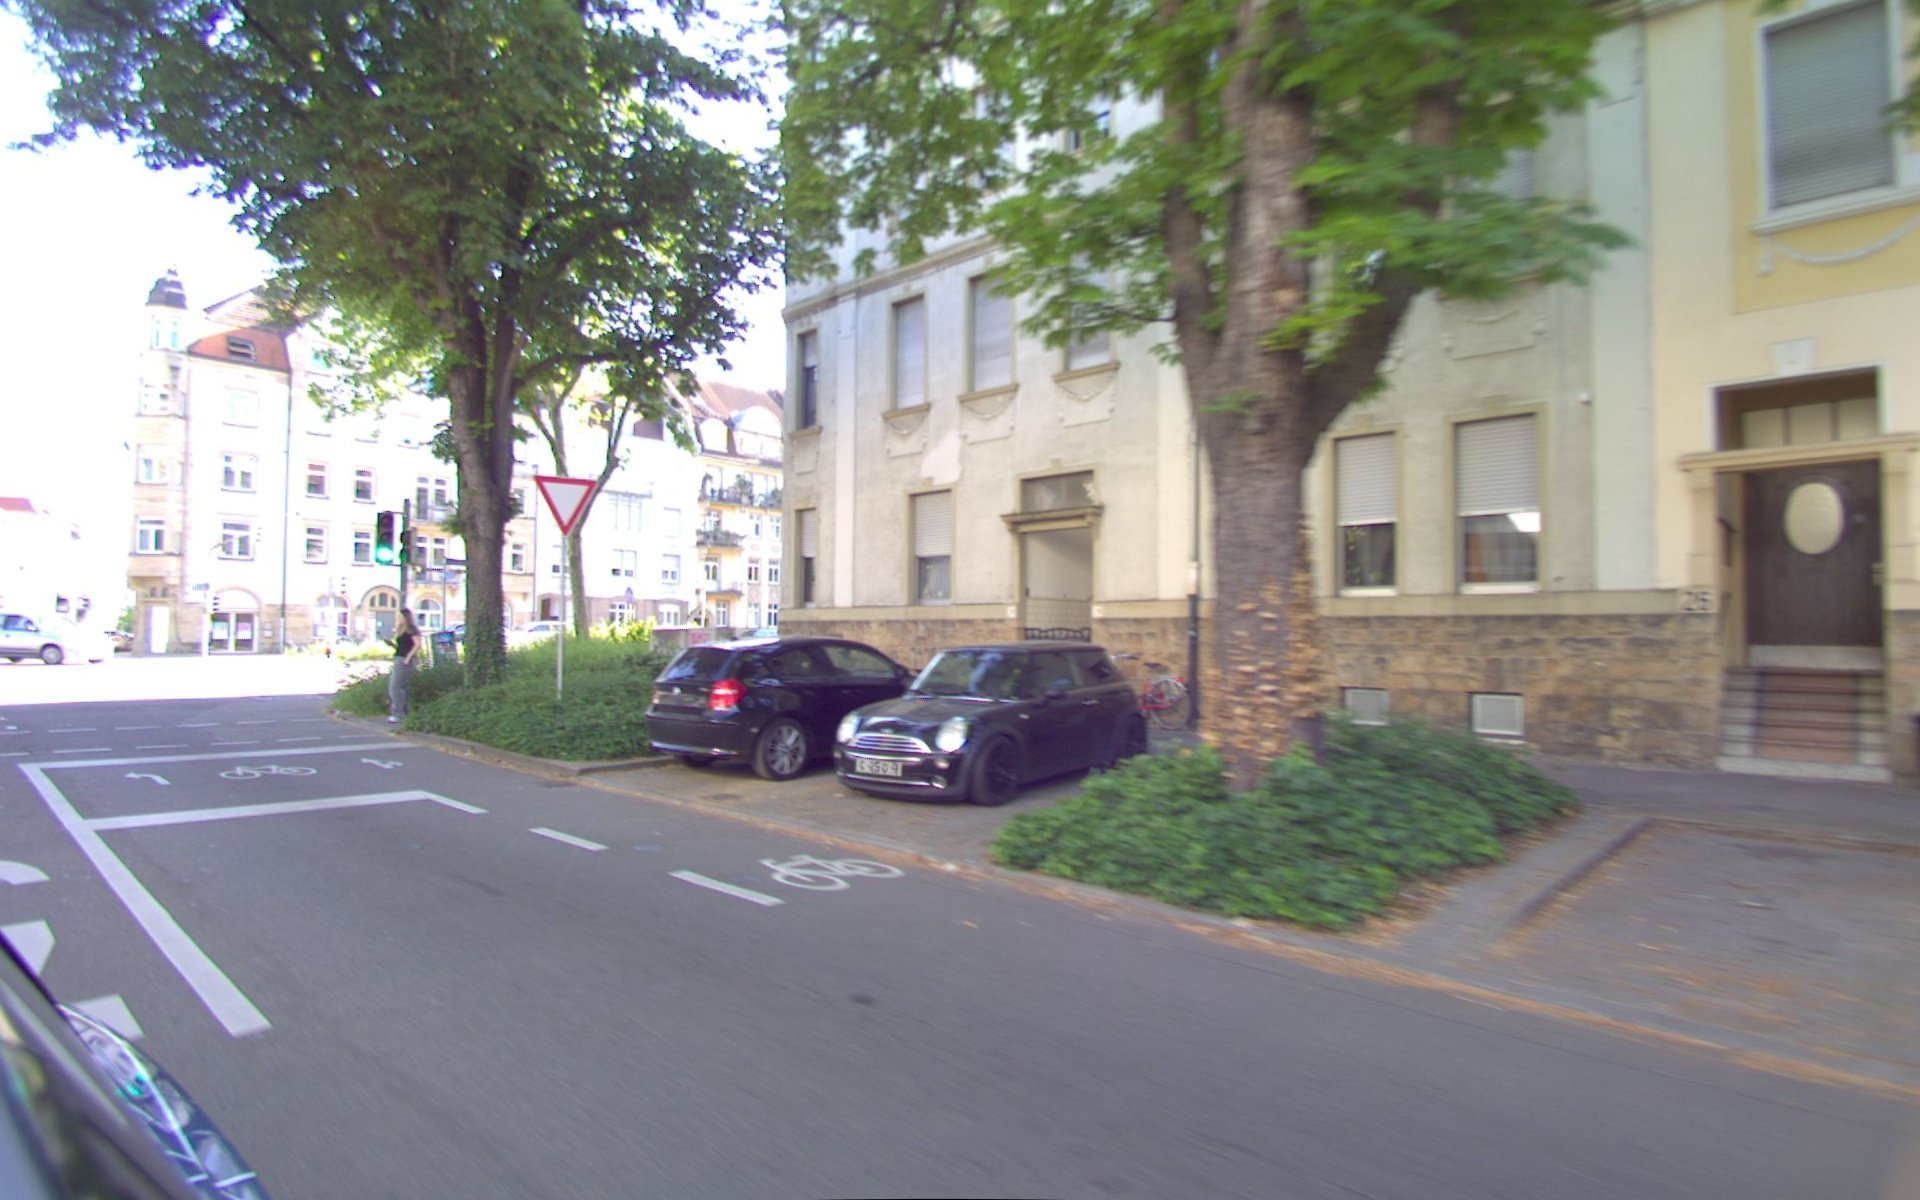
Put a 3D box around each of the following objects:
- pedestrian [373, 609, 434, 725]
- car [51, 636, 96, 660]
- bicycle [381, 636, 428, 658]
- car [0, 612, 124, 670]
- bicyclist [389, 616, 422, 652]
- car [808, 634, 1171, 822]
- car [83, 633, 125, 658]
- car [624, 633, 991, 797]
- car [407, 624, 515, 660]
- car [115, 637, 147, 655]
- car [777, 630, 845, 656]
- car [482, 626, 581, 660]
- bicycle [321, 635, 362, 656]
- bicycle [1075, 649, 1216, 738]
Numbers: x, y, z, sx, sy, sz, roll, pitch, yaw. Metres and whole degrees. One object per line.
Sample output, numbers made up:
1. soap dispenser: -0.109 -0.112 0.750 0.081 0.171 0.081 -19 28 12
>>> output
1. pedestrian: -8.439 1.003 15.337 0.684 1.695 0.681 2 -3 -36
2. car: -54.898 2.970 62.709 1.531 1.422 3.580 4 -5 -33
3. bicycle: -24.120 2.034 43.941 0.794 0.932 1.614 -3 -4 42
4. car: -26.498 1.176 29.057 3.565 1.580 1.653 0 -3 0
5. bicyclist: -24.114 1.478 43.980 0.687 1.554 1.059 -2 -3 42
6. car: 0.479 1.059 9.793 1.612 1.426 3.846 -1 -3 37
7. car: -62.897 3.327 74.395 1.887 1.671 4.357 -2 0 -34
8. car: -1.529 1.159 11.223 1.615 1.487 3.840 -1 -3 43
9. car: -23.854 2.034 48.451 1.999 1.657 4.181 -4 -5 42
10. car: -78.041 4.328 95.304 1.887 1.529 4.357 -2 0 -34
11. car: -9.541 2.751 65.148 1.818 1.603 4.188 -1 -3 40
12. car: -20.338 2.049 48.172 1.766 1.541 3.964 -2 -3 42
13. bicycle: -33.839 2.479 55.417 0.610 1.142 1.786 -2 -3 40
14. bicycle: 2.592 1.287 14.334 1.982 1.163 0.508 -3 -2 43
